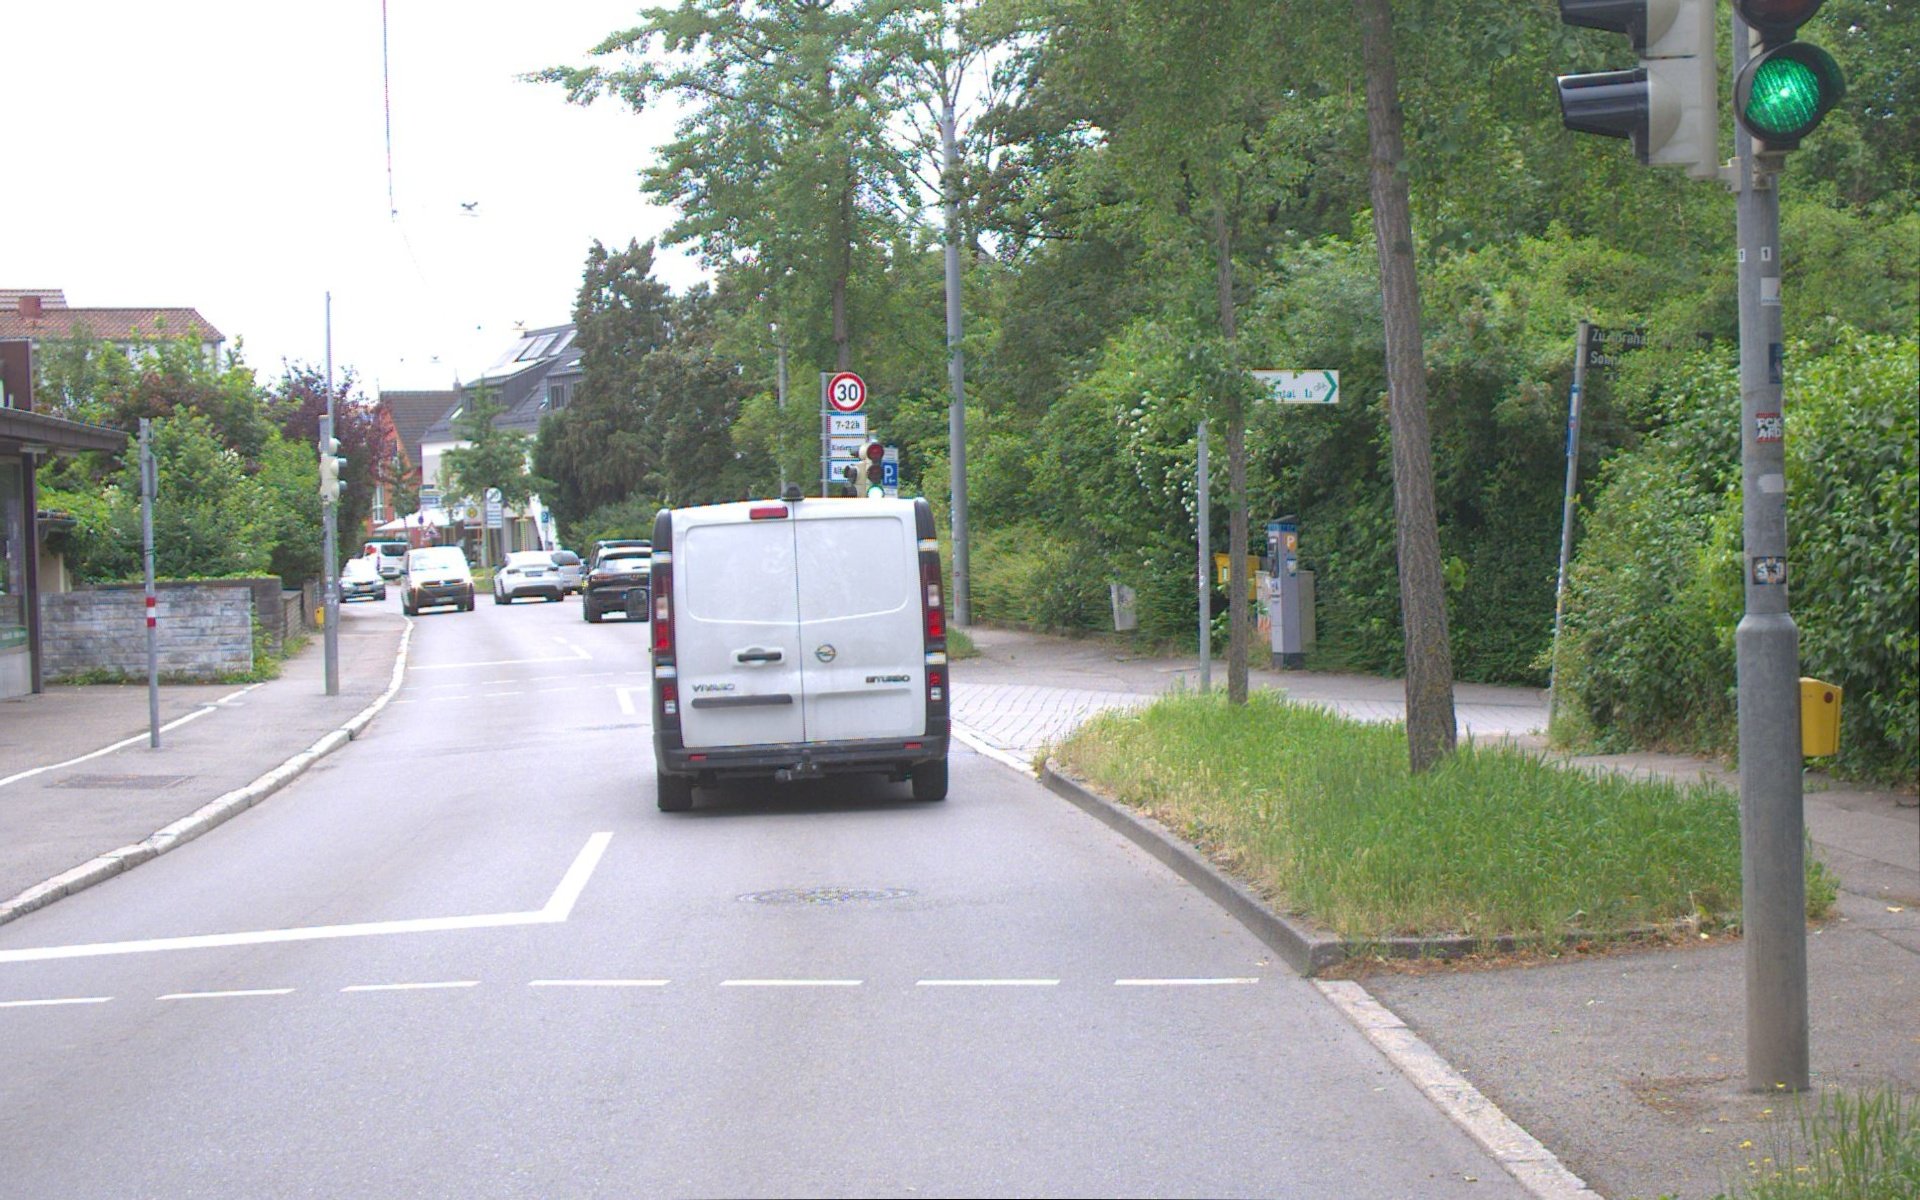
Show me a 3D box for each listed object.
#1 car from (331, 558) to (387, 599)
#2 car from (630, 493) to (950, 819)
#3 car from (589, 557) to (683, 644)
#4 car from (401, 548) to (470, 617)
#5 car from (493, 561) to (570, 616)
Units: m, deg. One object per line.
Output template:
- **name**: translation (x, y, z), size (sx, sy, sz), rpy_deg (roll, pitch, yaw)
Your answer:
- **car**: translation (-23.901, -0.851, 136.629), size (1.883, 1.507, 4.114), rpy_deg (-3, 1, -13)
- **car**: translation (-1.117, 0.338, 23.068), size (1.930, 1.957, 4.402), rpy_deg (0, 0, -2)
- **car**: translation (-7.064, 0.010, 75.315), size (1.896, 1.853, 4.404), rpy_deg (0, 0, -4)
- **car**: translation (-15.612, -0.534, 102.357), size (1.867, 1.904, 5.116), rpy_deg (-3, 1, -8)
- **car**: translation (-13.589, -0.359, 108.908), size (1.824, 1.722, 4.001), rpy_deg (0, 0, -16)
